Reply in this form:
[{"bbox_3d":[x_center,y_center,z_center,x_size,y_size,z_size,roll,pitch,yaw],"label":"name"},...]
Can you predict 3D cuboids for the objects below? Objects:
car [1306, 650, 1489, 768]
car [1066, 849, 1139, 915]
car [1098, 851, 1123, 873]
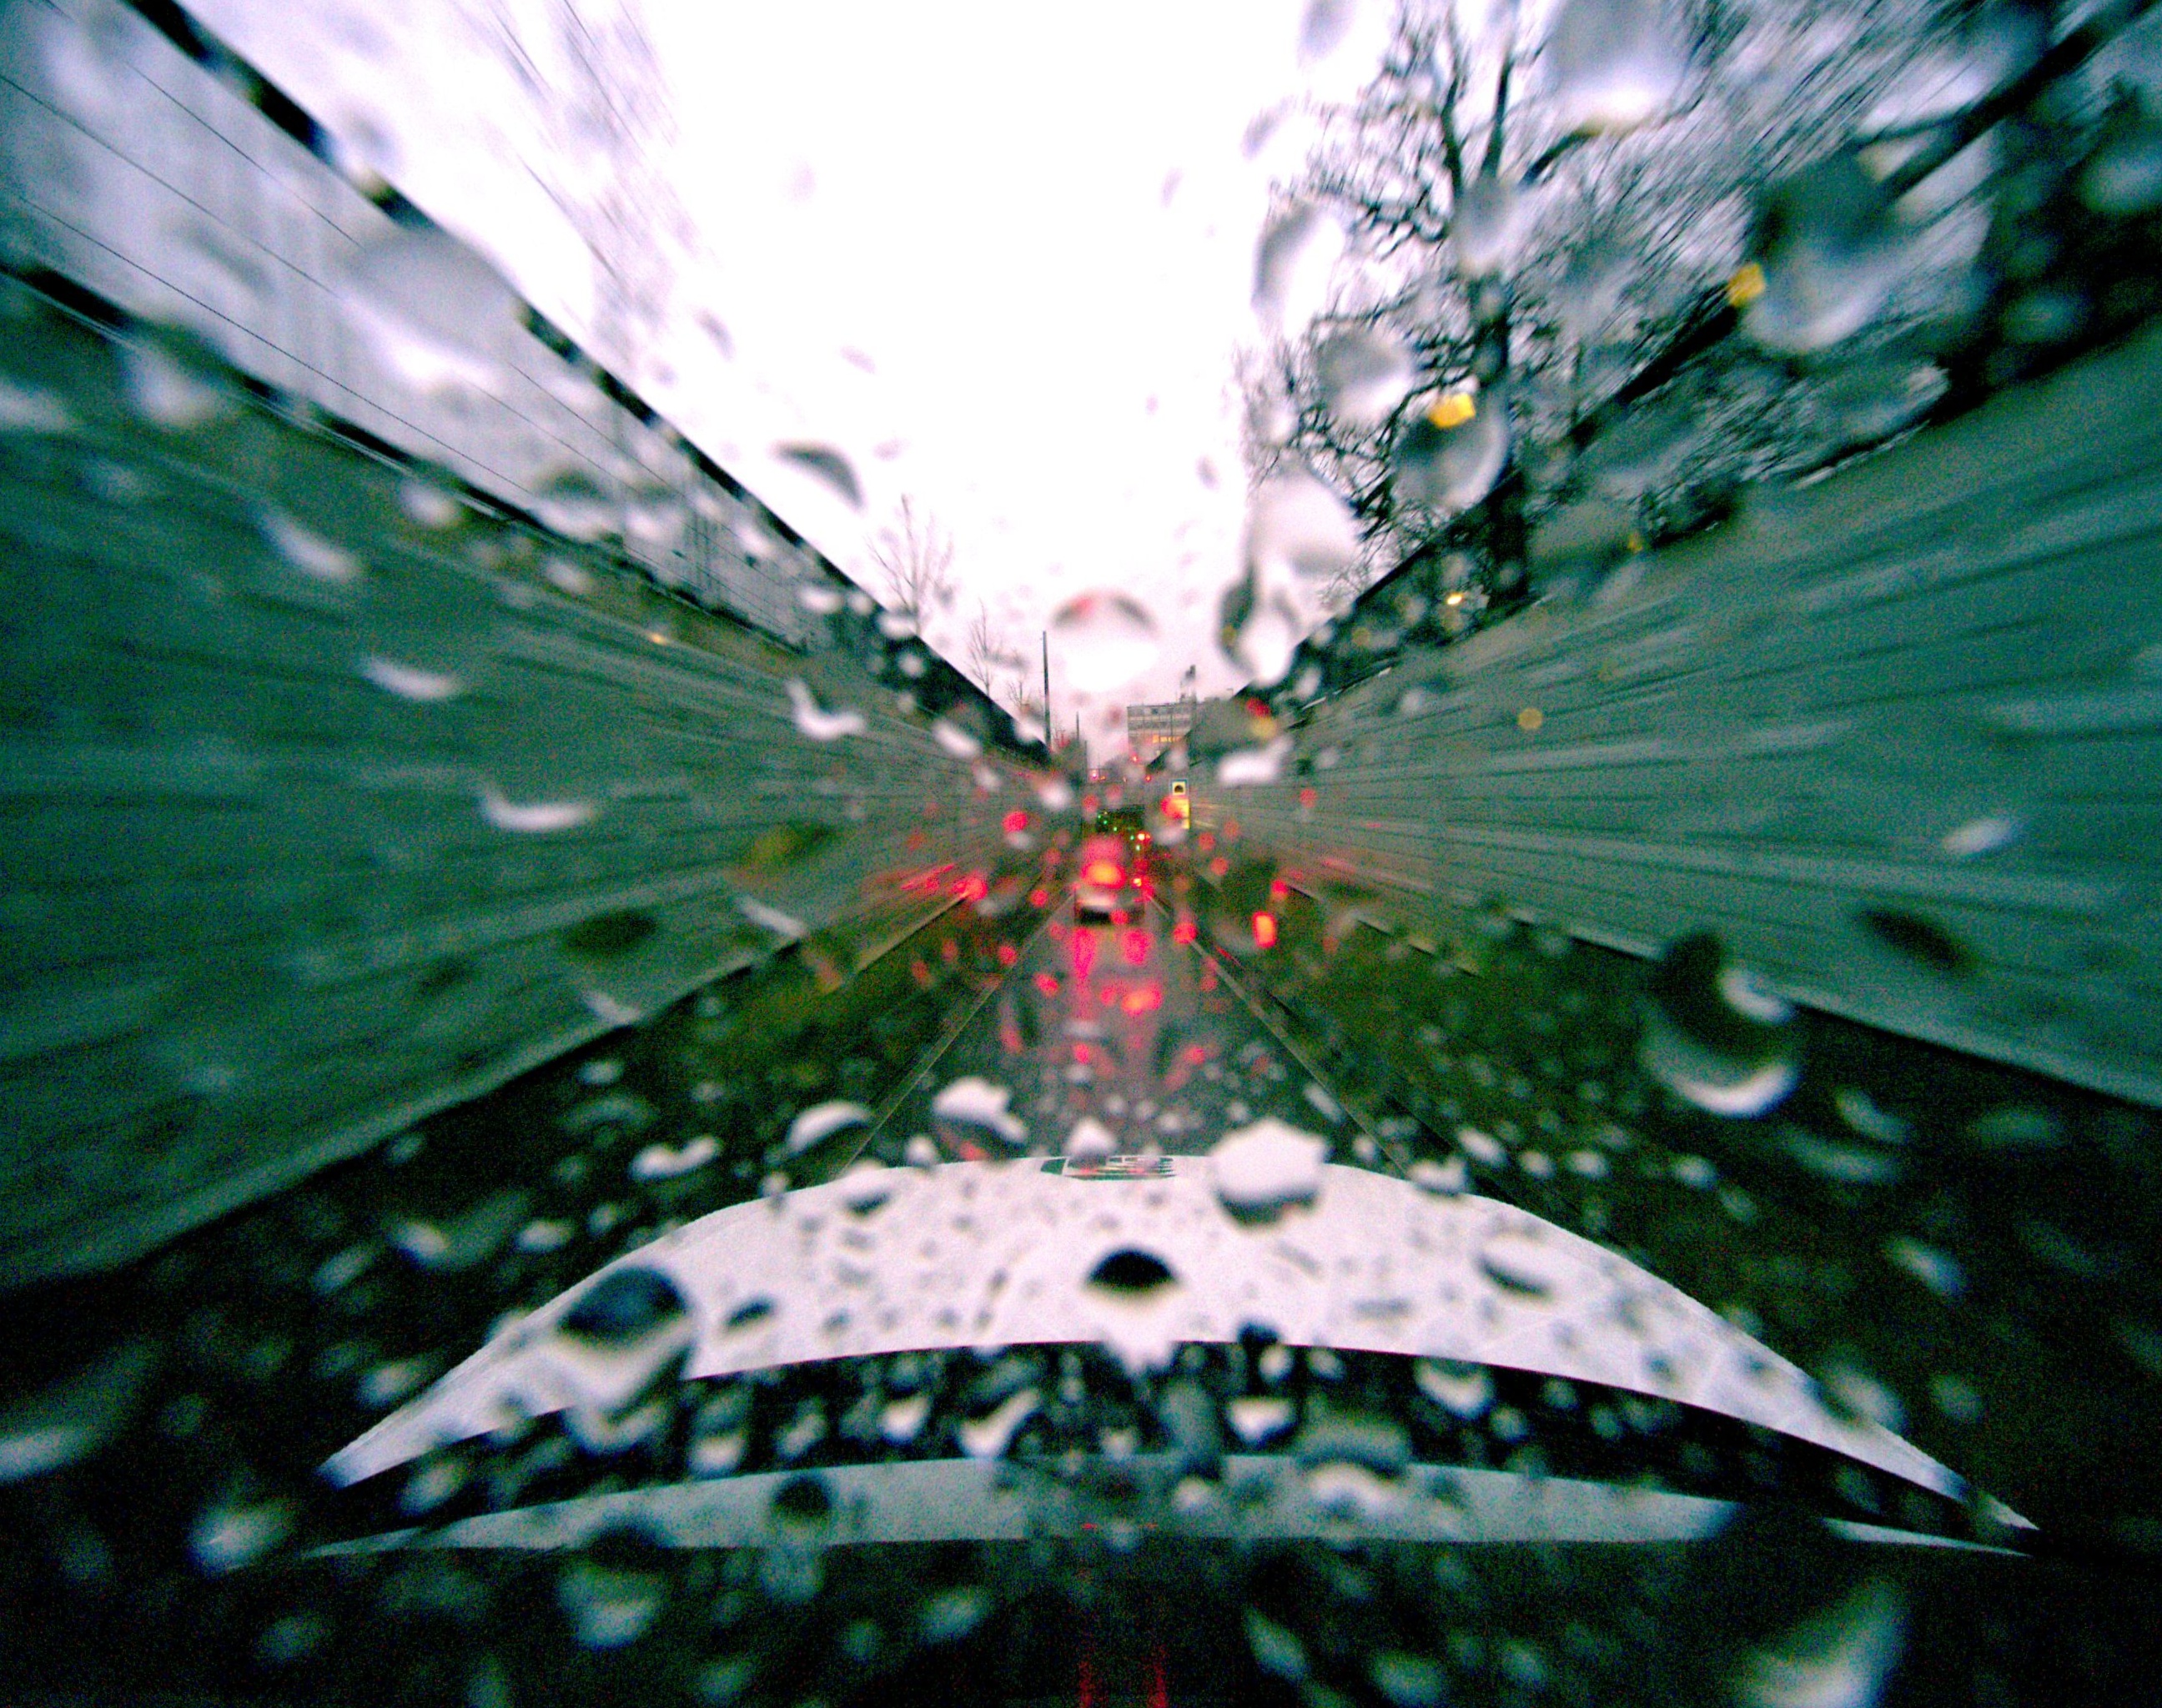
[{"bbox_3d":[5.052,-2.270,13.605,1.715,1.478,4.006,0,4,4],"label":"car"},{"bbox_3d":[0.626,0.634,20.998,1.715,1.479,4.004,0,1,4],"label":"car"},{"bbox_3d":[2.403,0.626,66.757,1.913,1.485,4.002,0,4,1],"label":"car"}]
